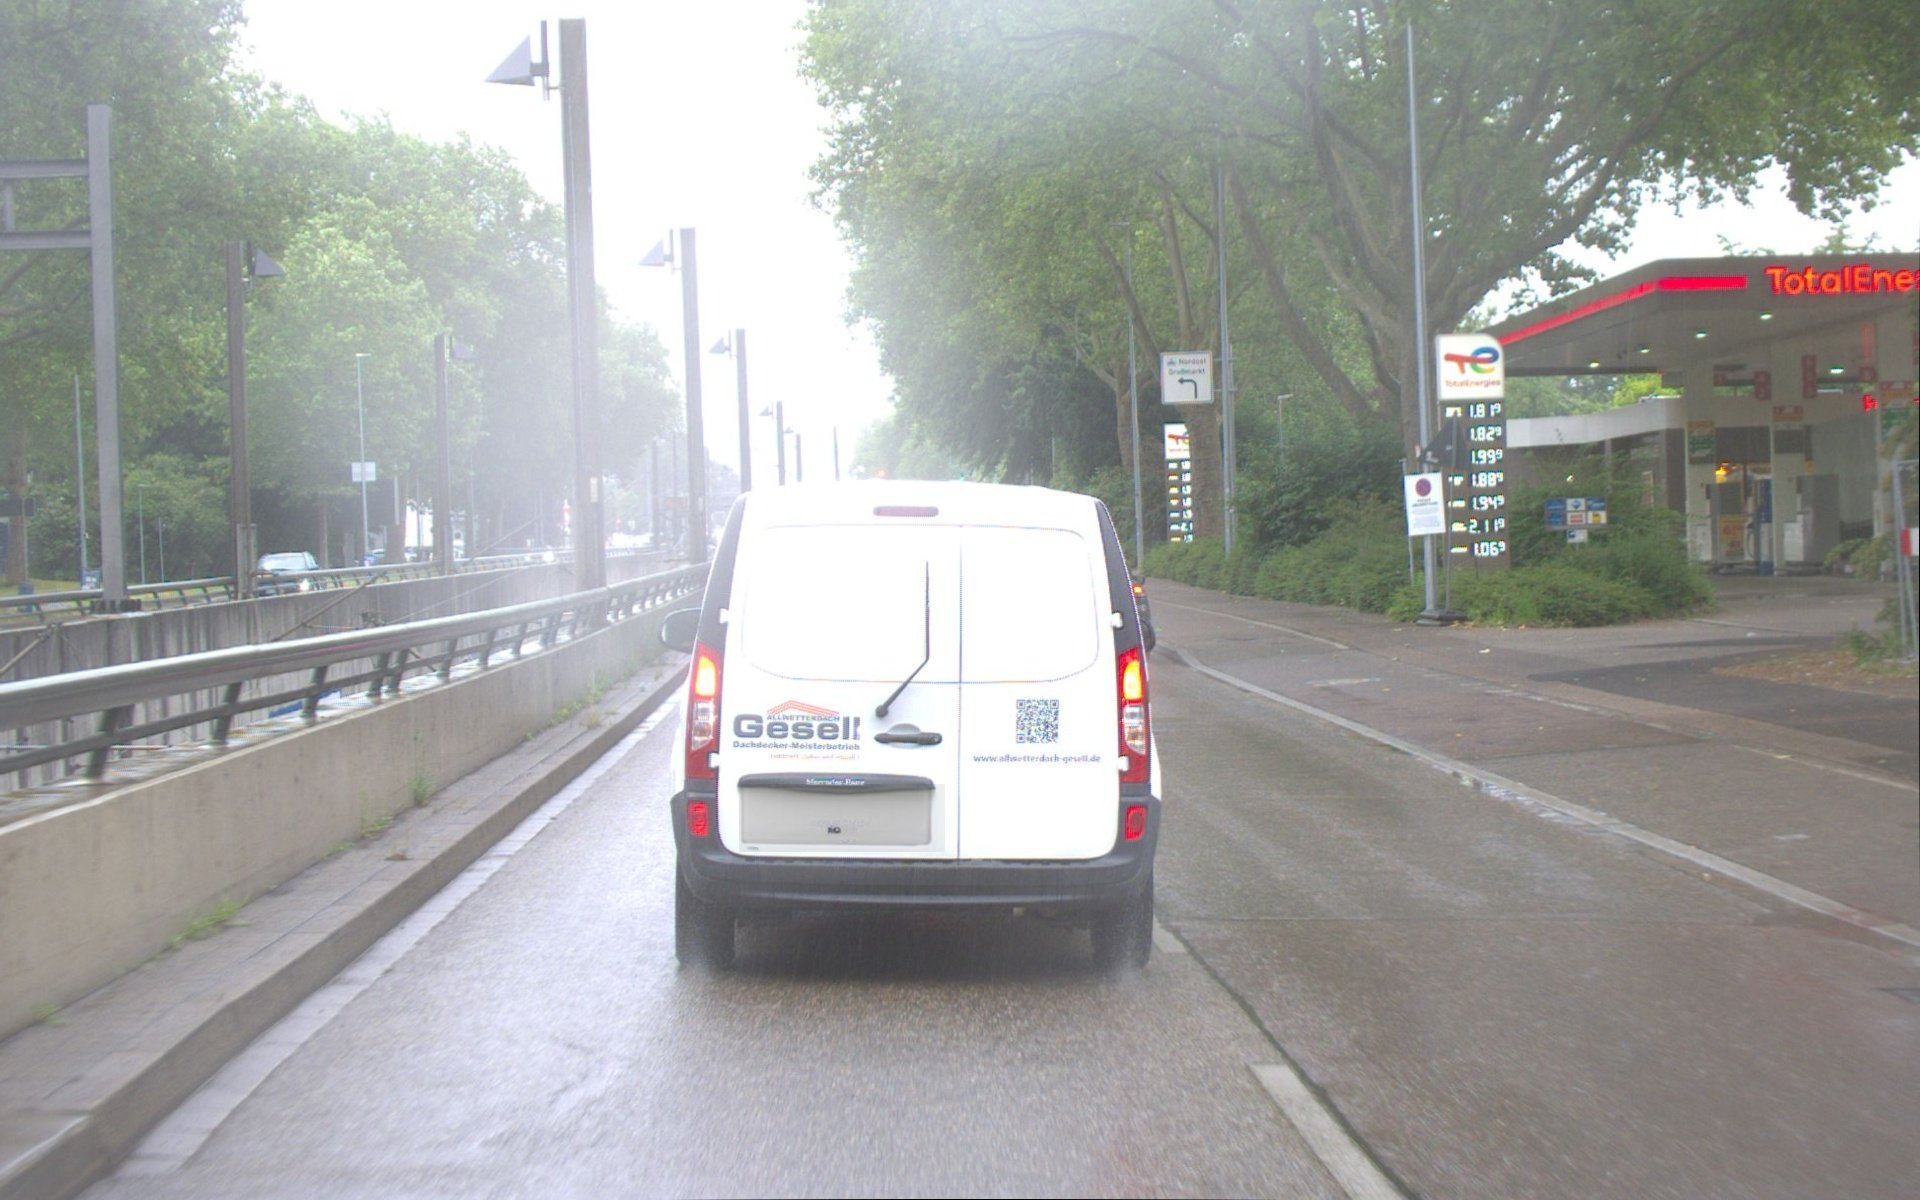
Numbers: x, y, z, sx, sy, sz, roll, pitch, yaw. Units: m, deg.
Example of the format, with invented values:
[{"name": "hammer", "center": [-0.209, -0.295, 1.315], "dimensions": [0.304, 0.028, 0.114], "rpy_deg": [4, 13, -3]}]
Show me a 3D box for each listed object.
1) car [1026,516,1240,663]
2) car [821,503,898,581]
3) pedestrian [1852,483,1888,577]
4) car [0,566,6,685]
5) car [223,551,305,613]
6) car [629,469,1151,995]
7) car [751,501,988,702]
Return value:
[{"name": "car", "center": [2.013, -0.139, 41.156], "dimensions": [1.993, 1.579, 4.001], "rpy_deg": [-3, 1, -4]}, {"name": "car", "center": [-2.873, -1.659, 98.738], "dimensions": [2.048, 2.133, 4.000], "rpy_deg": [-2, 1, 0]}, {"name": "pedestrian", "center": [16.936, -1.311, 64.001], "dimensions": [0.554, 1.719, 0.725], "rpy_deg": [-2, 1, 17]}, {"name": "car", "center": [-14.057, 0.409, 45.062], "dimensions": [1.993, 1.627, 4.581], "rpy_deg": [-2, 1, -3]}, {"name": "car", "center": [-19.187, -0.516, 94.846], "dimensions": [1.907, 1.565, 4.001], "rpy_deg": [-2, 1, -8]}, {"name": "car", "center": [-0.351, 0.428, 13.696], "dimensions": [1.755, 1.771, 4.001], "rpy_deg": [1, 1, -3]}, {"name": "car", "center": [-0.828, -0.011, 30.742], "dimensions": [1.917, 1.603, 4.000], "rpy_deg": [-2, 1, -2]}]
